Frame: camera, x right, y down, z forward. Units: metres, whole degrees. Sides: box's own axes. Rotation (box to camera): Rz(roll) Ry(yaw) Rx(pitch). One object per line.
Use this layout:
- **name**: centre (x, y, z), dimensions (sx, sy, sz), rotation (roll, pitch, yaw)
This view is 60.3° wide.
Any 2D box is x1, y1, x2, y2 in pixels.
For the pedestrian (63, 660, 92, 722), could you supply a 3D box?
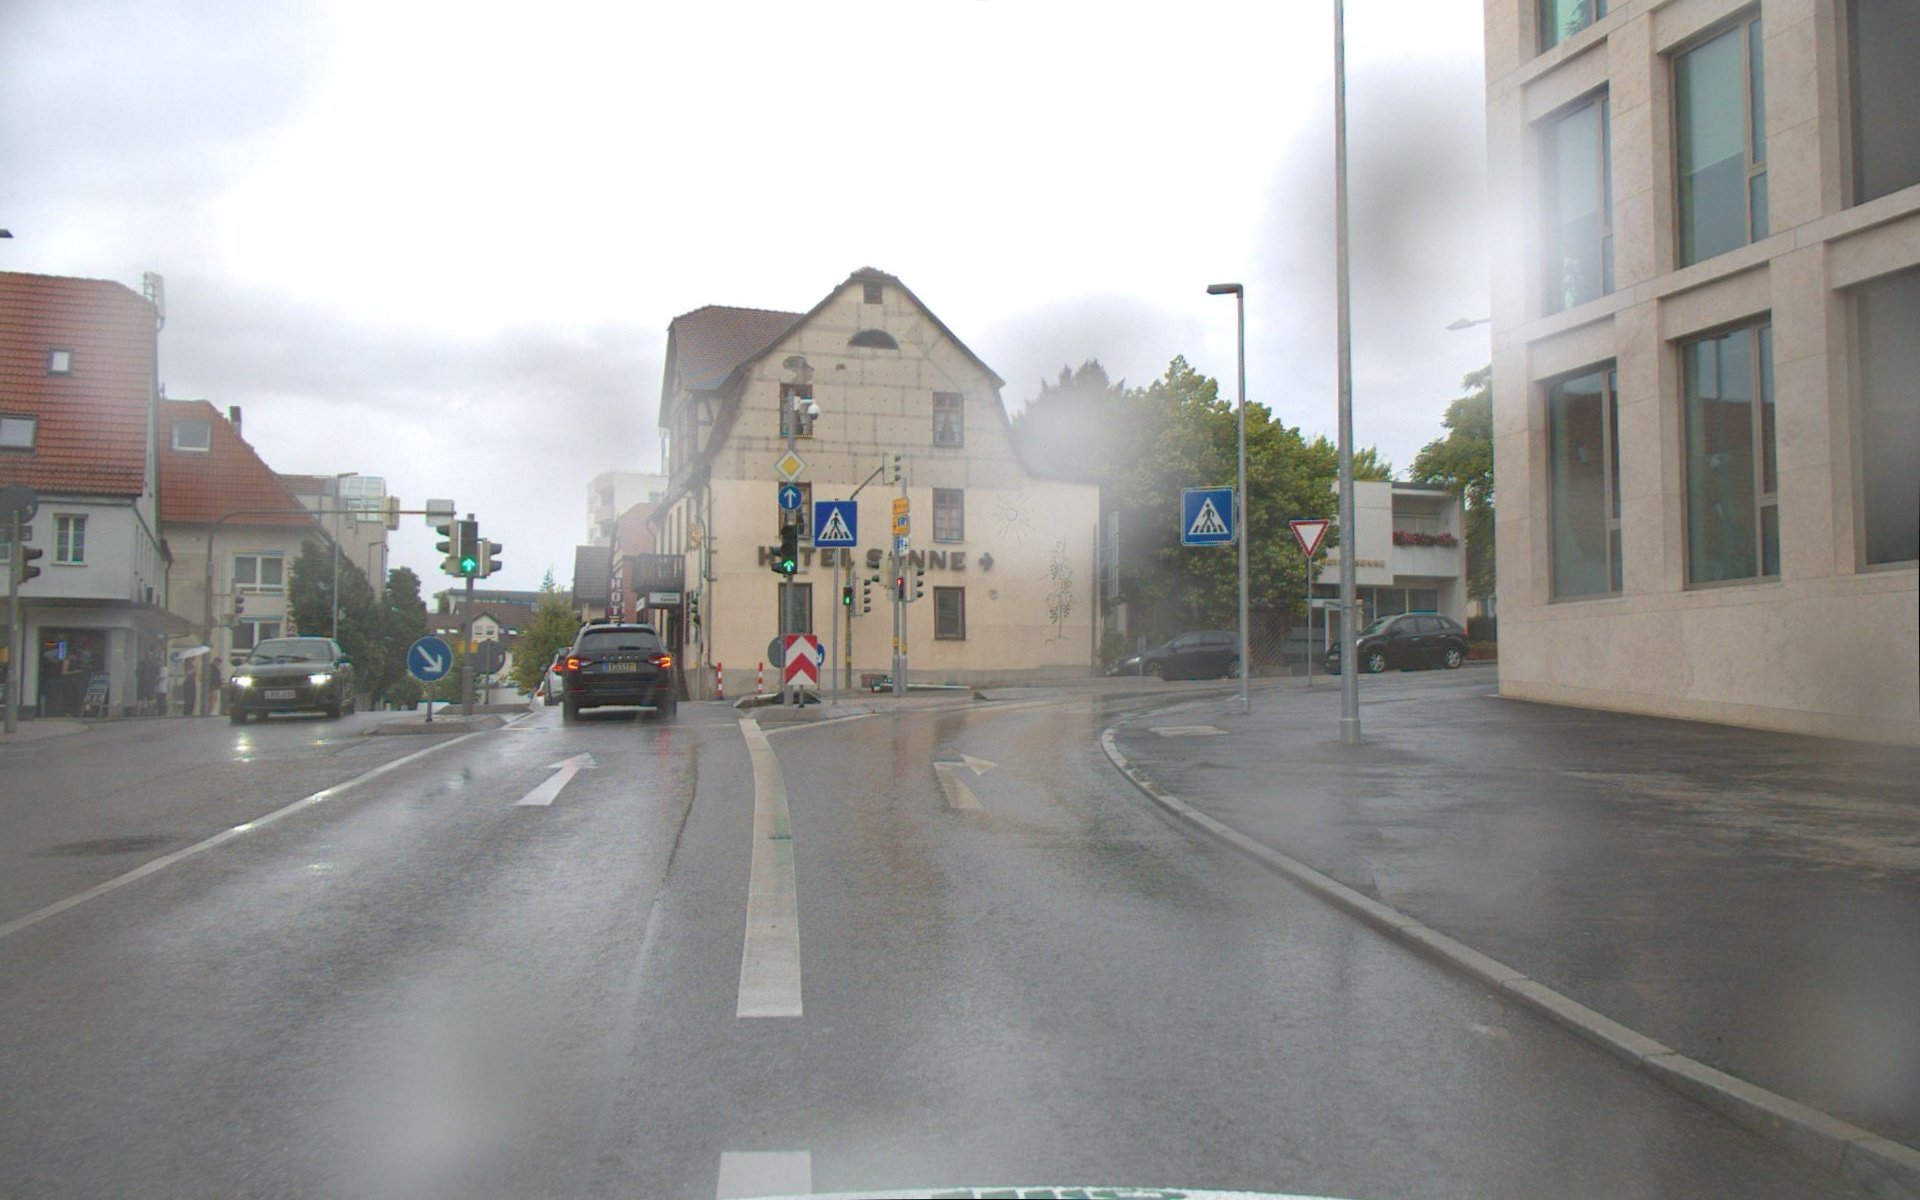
- **pedestrian**: centre (-23.182, 2.375, 43.464), dimensions (0.584, 1.587, 0.630), rotation (-1, -2, -22)

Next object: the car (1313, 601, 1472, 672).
- **car**: centre (12.865, 1.081, 49.242), dimensions (4.237, 1.847, 1.768), rotation (-2, -5, -20)

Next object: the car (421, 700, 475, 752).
- **car**: centre (-29.705, 7.254, 96.140), dimensions (2.544, 2.672, 6.532), rotation (-2, -2, -14)

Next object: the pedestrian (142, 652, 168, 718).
- **pedestrian**: centre (-22.381, 2.347, 45.988), dimensions (0.584, 1.805, 0.630), rotation (-1, -2, -22)

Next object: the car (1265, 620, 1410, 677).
- **car**: centre (11.935, 1.531, 52.332), dimensions (4.110, 1.545, 1.768), rotation (-2, -5, -20)

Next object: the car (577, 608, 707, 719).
- **car**: centre (-5.141, 0.967, 27.216), dimensions (1.908, 1.594, 4.409), rotation (0, 1, -9)

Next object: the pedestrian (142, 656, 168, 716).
- **pedestrian**: centre (-21.897, 2.335, 44.998), dimensions (0.584, 1.587, 0.630), rotation (-1, -2, -22)

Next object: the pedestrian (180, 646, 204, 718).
- **pedestrian**: centre (-20.704, 2.201, 44.581), dimensions (0.527, 1.904, 0.630), rotation (-1, -2, -22)

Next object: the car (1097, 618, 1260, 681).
- **car**: centre (6.241, 1.412, 47.252), dimensions (4.240, 1.531, 1.767), rotation (-2, -5, -21)

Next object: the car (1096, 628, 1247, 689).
- **car**: centre (6.373, 1.771, 49.938), dimensions (4.110, 1.545, 1.768), rotation (-2, -5, -20)

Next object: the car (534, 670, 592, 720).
- **car**: centre (-14.073, 3.355, 58.794), dimensions (1.854, 1.493, 3.987), rotation (-1, 0, -12)

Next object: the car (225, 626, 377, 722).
- **car**: centre (-11.645, 1.256, 29.485), dimensions (1.854, 1.493, 3.987), rotation (-1, 0, -12)

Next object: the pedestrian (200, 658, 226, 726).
- **pedestrian**: centre (-21.165, 2.593, 46.877), dimensions (0.594, 1.900, 0.743), rotation (-1, -2, -22)
